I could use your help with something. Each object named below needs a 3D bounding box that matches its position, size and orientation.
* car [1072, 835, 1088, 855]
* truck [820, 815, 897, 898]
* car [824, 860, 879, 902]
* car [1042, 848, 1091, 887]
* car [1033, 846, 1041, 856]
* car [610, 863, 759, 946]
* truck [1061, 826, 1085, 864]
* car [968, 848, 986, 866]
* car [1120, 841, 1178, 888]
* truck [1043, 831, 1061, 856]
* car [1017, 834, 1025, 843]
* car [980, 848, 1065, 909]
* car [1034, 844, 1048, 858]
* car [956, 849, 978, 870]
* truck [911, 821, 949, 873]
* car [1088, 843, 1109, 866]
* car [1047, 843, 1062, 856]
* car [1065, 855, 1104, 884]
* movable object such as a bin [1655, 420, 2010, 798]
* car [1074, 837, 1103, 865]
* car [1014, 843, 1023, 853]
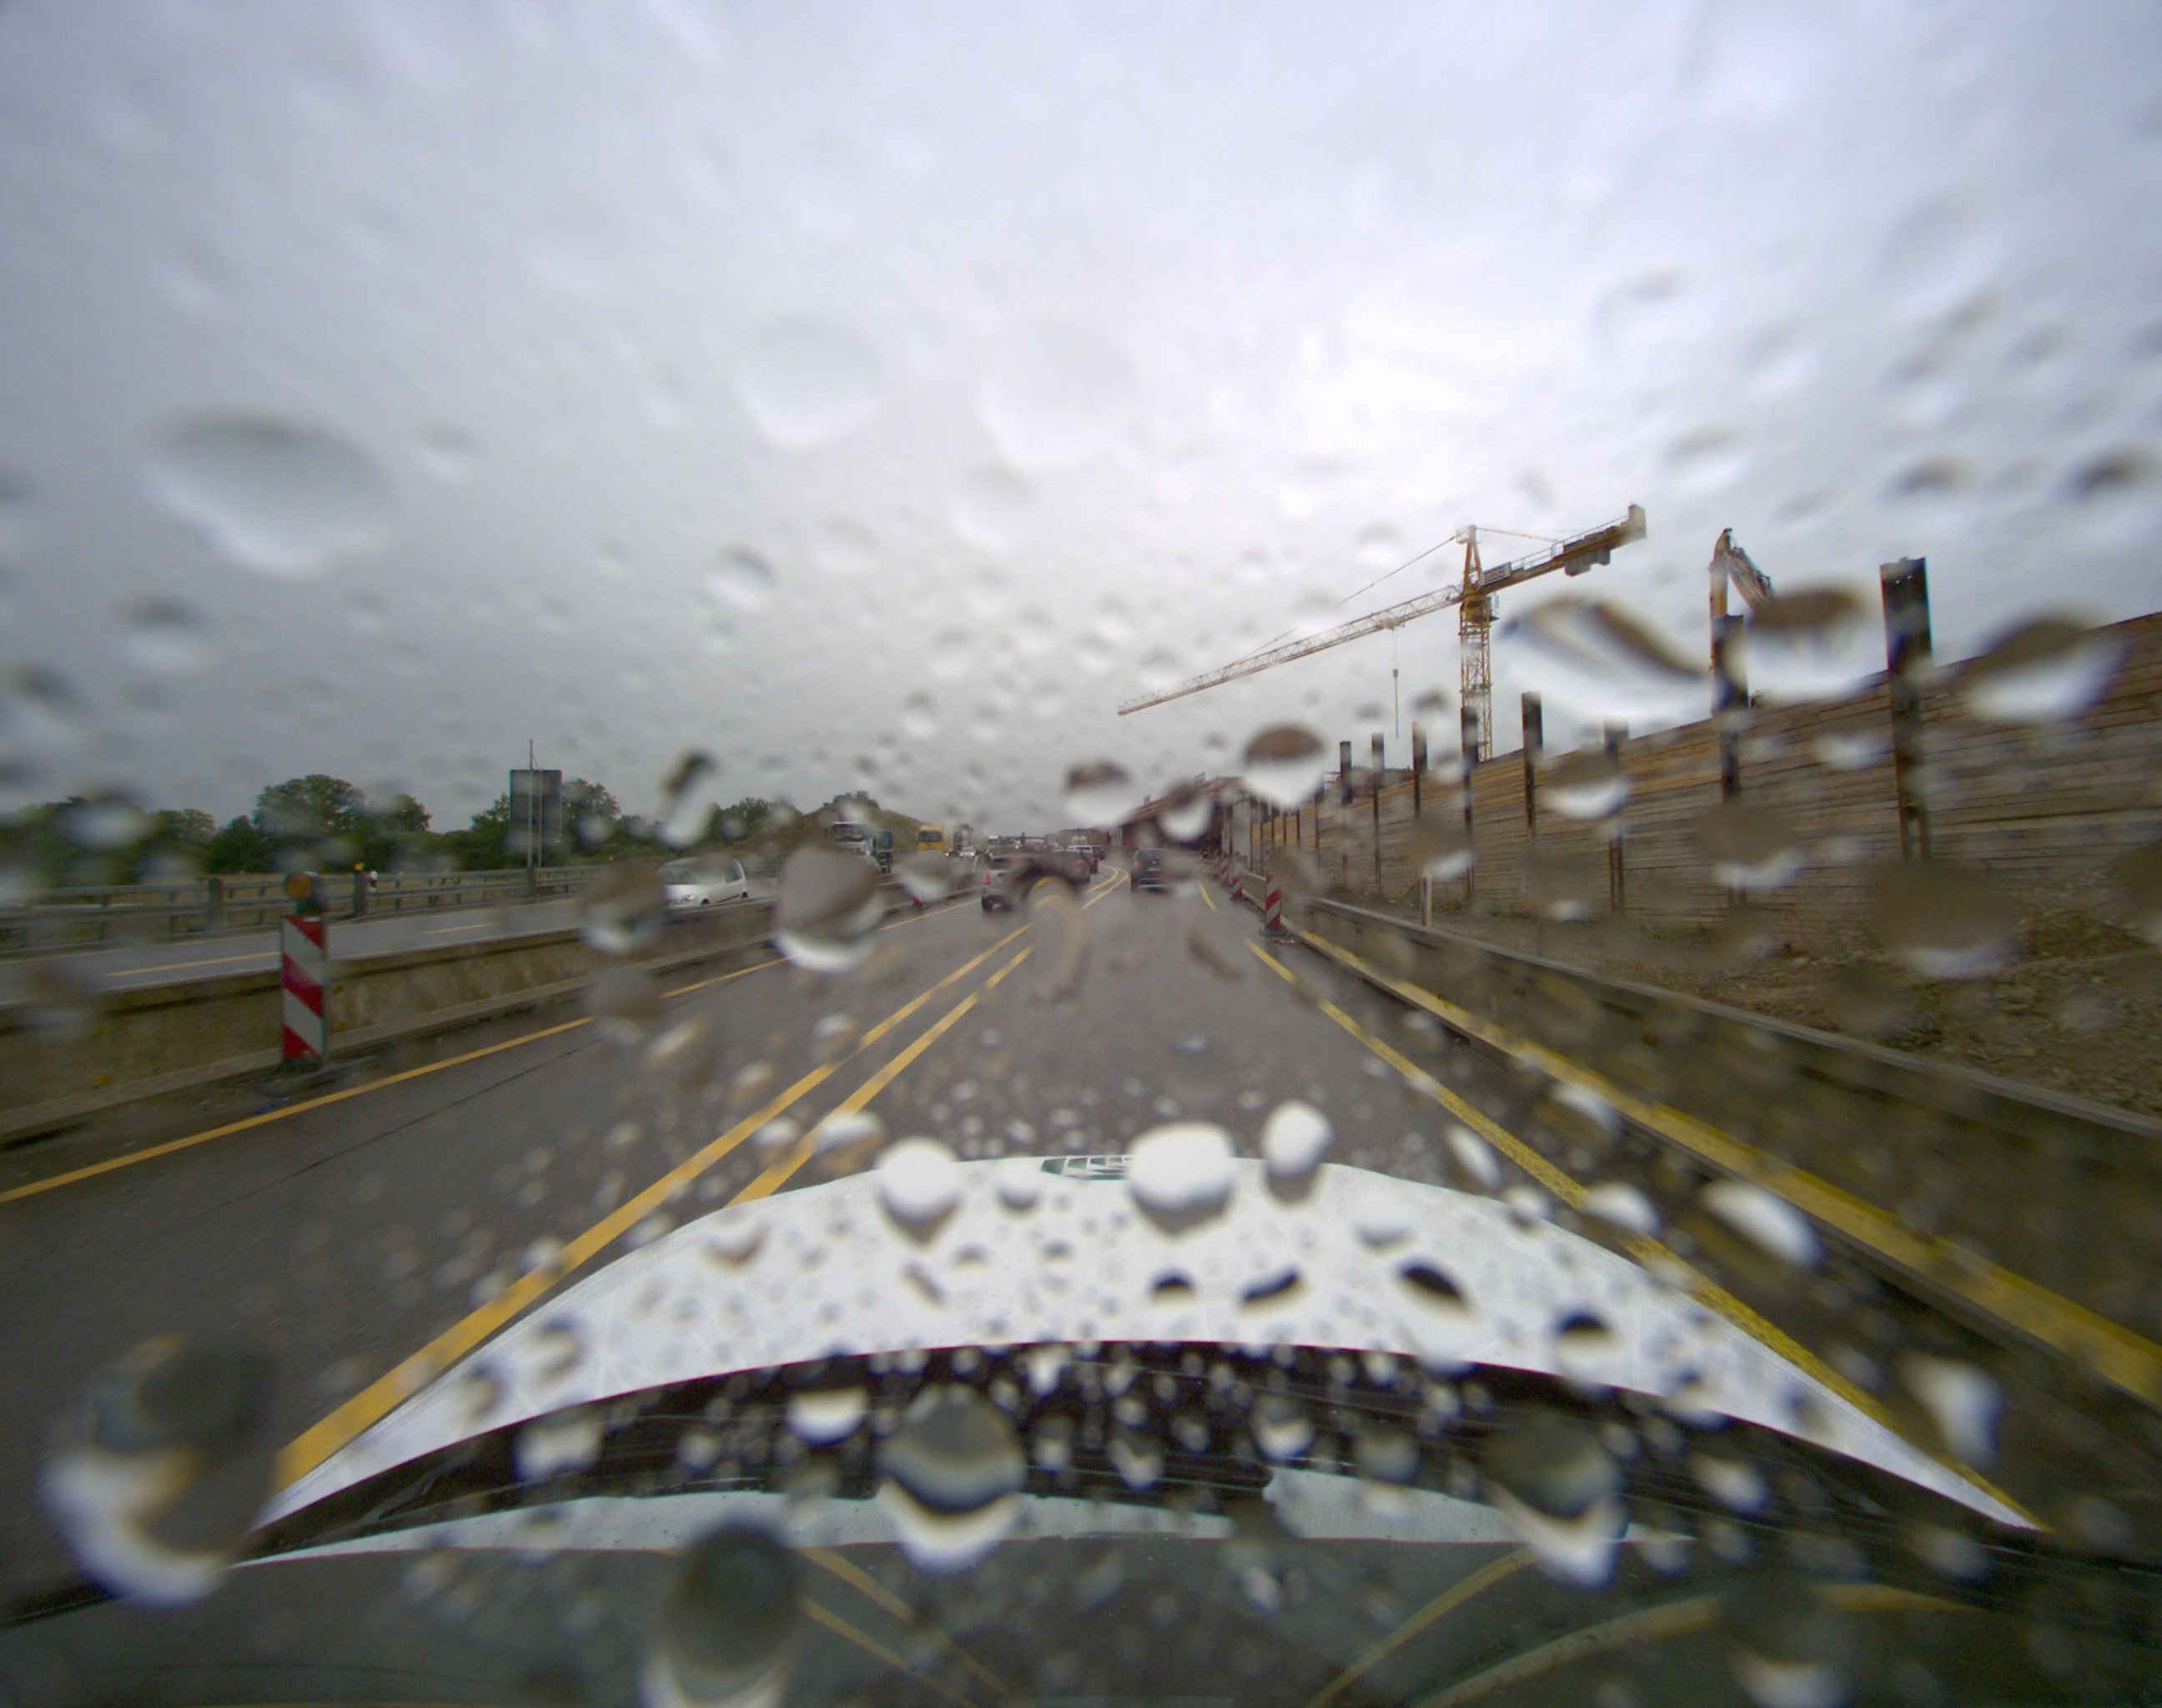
[{"bbox_3d":[-0.183,-1.228,112.576,1.989,2.485,4.975,-1,-3,-3],"label":"car"},{"bbox_3d":[-14.323,0.252,53.108,3.076,4.920,8.552,0,-2,-3],"label":"truck"},{"bbox_3d":[-10.348,1.272,36.929,1.619,1.810,3.631,-1,-3,-3],"label":"car"},{"bbox_3d":[-0.598,0.675,37.541,1.985,1.601,4.142,-1,-3,2],"label":"car"},{"bbox_3d":[-10.495,-0.715,192.554,1.846,1.894,4.015,-1,-3,-4],"label":"car"},{"bbox_3d":[-9.704,1.249,20.376,1.782,1.810,4.491,-1,-3,-4],"label":"car"},{"bbox_3d":[-1.225,-1.361,132.628,3.088,5.427,9.448,-1,-3,3],"label":"truck"},{"bbox_3d":[-14.638,0.440,114.818,2.212,2.370,4.657,0,-2,-3],"label":"car"},{"bbox_3d":[2.679,0.469,32.108,2.072,1.601,4.144,-2,-3,4],"label":"car"},{"bbox_3d":[-7.018,-2.380,195.358,3.798,5.044,12.894,-1,-3,-5],"label":"truck"},{"bbox_3d":[-15.370,-3.907,209.648,1.990,2.014,3.992,-1,-3,-5],"label":"car"},{"bbox_3d":[-1.591,0.749,23.753,1.807,1.601,4.312,-1,-3,4],"label":"car"},{"bbox_3d":[-6.856,-0.530,139.597,1.987,2.163,4.140,-1,-3,1],"label":"car"},{"bbox_3d":[-13.511,0.720,96.937,2.234,2.359,4.870,0,-2,-3],"label":"car"},{"bbox_3d":[-16.732,-0.648,90.779,3.135,5.418,8.511,0,-2,-3],"label":"truck"},{"bbox_3d":[1.856,0.082,89.362,1.989,2.163,4.135,-1,-3,-3],"label":"car"},{"bbox_3d":[-3.979,-0.674,122.609,1.991,1.762,3.805,-1,-3,-6],"label":"car"},{"bbox_3d":[0.166,1.024,51.014,1.991,1.601,4.131,-1,-3,-6],"label":"car"},{"bbox_3d":[27.756,-8.284,31.455,4.689,10.845,10.329,-2,-3,10],"label":"movable object such as a bin"},{"bbox_3d":[0.556,-0.191,65.477,1.990,2.014,3.885,-1,-3,-5],"label":"car"},{"bbox_3d":[-14.979,-1.482,195.496,1.990,2.014,3.992,-1,-3,-5],"label":"car"}]
